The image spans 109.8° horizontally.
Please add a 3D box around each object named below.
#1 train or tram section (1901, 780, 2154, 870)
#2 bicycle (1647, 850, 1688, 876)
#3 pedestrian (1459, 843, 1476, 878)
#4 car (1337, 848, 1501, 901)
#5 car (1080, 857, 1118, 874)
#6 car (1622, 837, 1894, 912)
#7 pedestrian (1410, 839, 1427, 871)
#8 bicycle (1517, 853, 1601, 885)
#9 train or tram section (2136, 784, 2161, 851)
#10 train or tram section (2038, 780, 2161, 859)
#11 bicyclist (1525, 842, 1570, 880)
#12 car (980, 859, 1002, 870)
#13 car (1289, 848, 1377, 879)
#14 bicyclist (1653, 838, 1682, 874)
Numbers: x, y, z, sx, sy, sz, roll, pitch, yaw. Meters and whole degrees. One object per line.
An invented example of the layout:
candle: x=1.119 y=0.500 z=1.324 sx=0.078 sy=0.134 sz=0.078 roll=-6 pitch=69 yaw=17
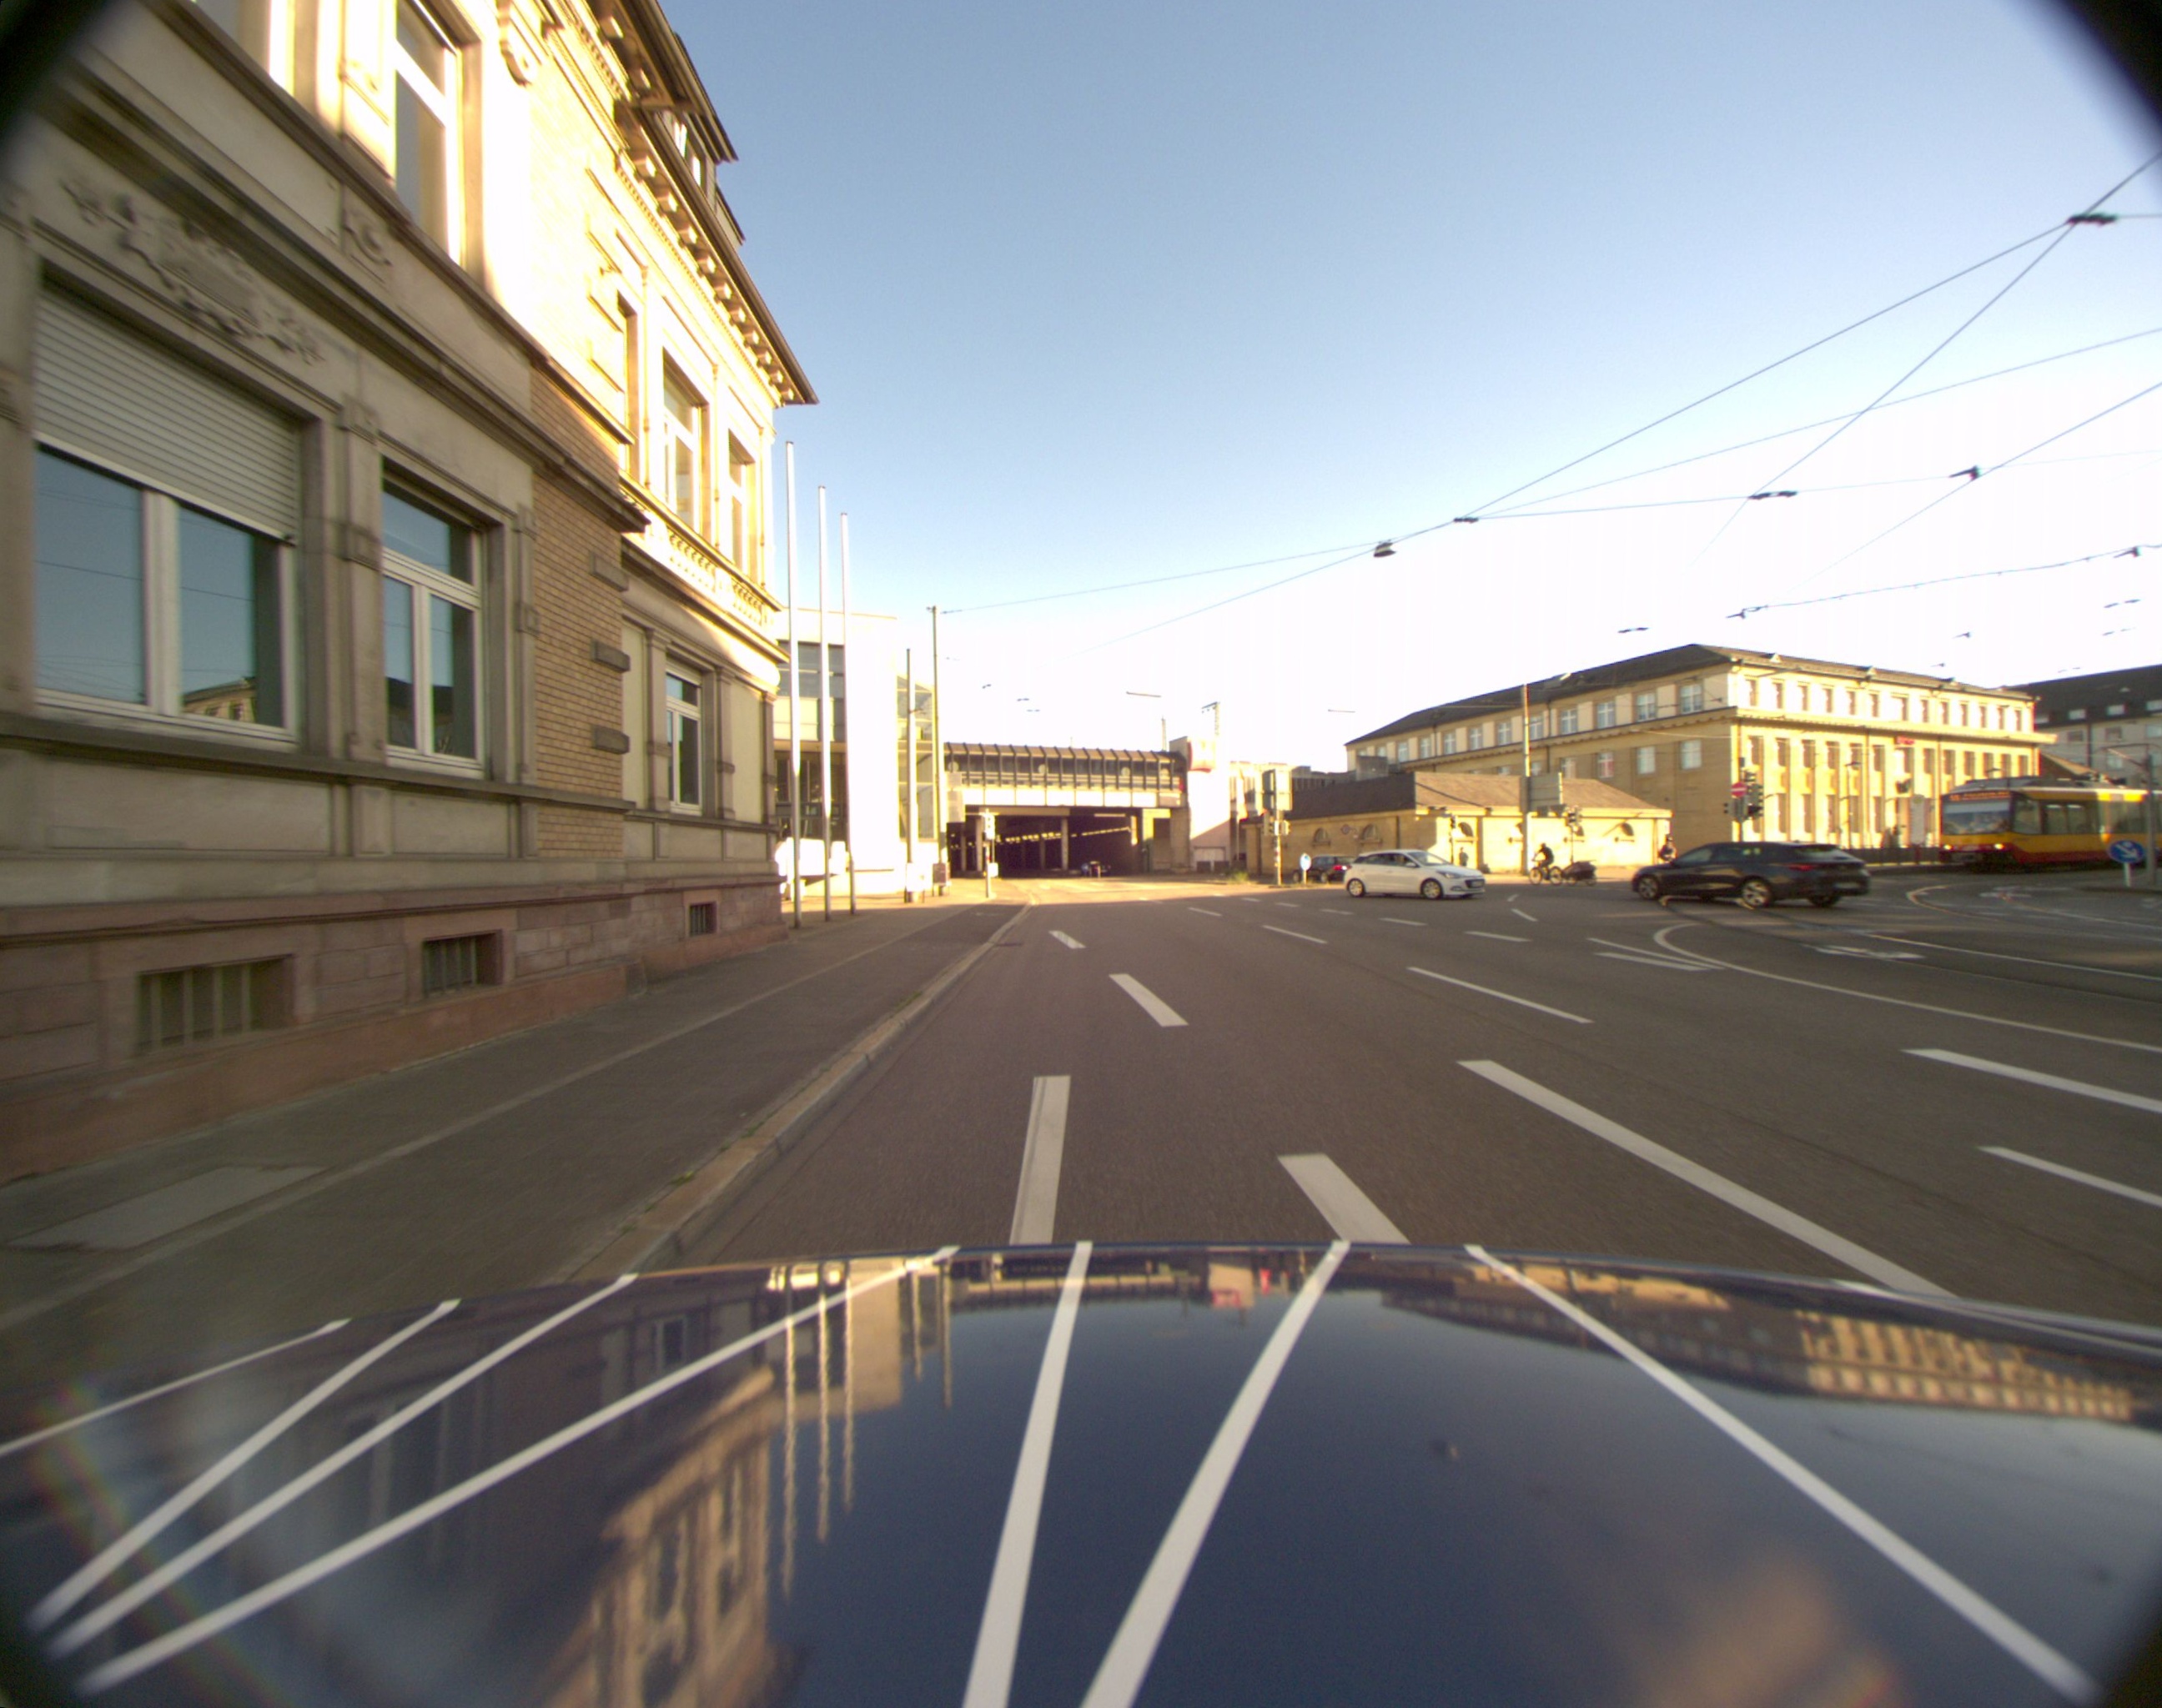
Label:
train or tram section: x=39.465 y=-1.176 z=31.578 sx=11.829 sy=3.301 sz=3.162 roll=-1 pitch=0 yaw=-21
bicycle: x=27.450 y=0.418 z=35.567 sx=2.076 sy=1.129 sz=0.684 roll=-3 pitch=1 yaw=-27
pedestrian: x=18.551 y=0.319 z=36.468 sx=0.624 sy=1.630 sz=0.490 roll=-1 pitch=1 yaw=42
car: x=9.856 y=0.564 z=22.446 sx=1.795 sy=1.385 sz=4.095 roll=-1 pitch=0 yaw=-32
car: x=1.566 y=1.057 z=67.724 sx=1.831 sy=1.417 sz=4.320 roll=-2 pitch=0 yaw=-21
car: x=15.093 y=0.417 z=17.362 sx=1.928 sy=1.447 sz=4.495 roll=-1 pitch=0 yaw=-6
pedestrian: x=17.093 y=0.042 z=38.515 sx=0.624 sy=1.630 sz=0.516 roll=-1 pitch=1 yaw=42
bicycle: x=17.442 y=0.526 z=27.874 sx=0.936 sy=1.050 sz=3.354 roll=-1 pitch=0 yaw=0
train or tram section: x=59.886 y=-2.057 z=39.581 sx=10.860 sy=3.337 sz=3.160 roll=-2 pitch=1 yaw=-21
train or tram section: x=49.922 y=-1.653 z=35.672 sx=10.690 sy=3.337 sz=3.160 roll=-2 pitch=1 yaw=-21
bicyclist: x=17.438 y=0.243 z=28.431 sx=0.936 sy=1.374 sz=1.148 roll=-1 pitch=0 yaw=0
car: x=-12.183 y=1.464 z=102.656 sx=1.818 sy=1.382 sz=4.240 roll=-2 pitch=0 yaw=-21
car: x=12.142 y=0.449 z=36.987 sx=2.001 sy=1.384 sz=4.556 roll=-1 pitch=0 yaw=-13
bicyclist: x=27.459 y=0.078 z=35.578 sx=0.941 sy=1.630 sz=0.676 roll=-3 pitch=1 yaw=-26
